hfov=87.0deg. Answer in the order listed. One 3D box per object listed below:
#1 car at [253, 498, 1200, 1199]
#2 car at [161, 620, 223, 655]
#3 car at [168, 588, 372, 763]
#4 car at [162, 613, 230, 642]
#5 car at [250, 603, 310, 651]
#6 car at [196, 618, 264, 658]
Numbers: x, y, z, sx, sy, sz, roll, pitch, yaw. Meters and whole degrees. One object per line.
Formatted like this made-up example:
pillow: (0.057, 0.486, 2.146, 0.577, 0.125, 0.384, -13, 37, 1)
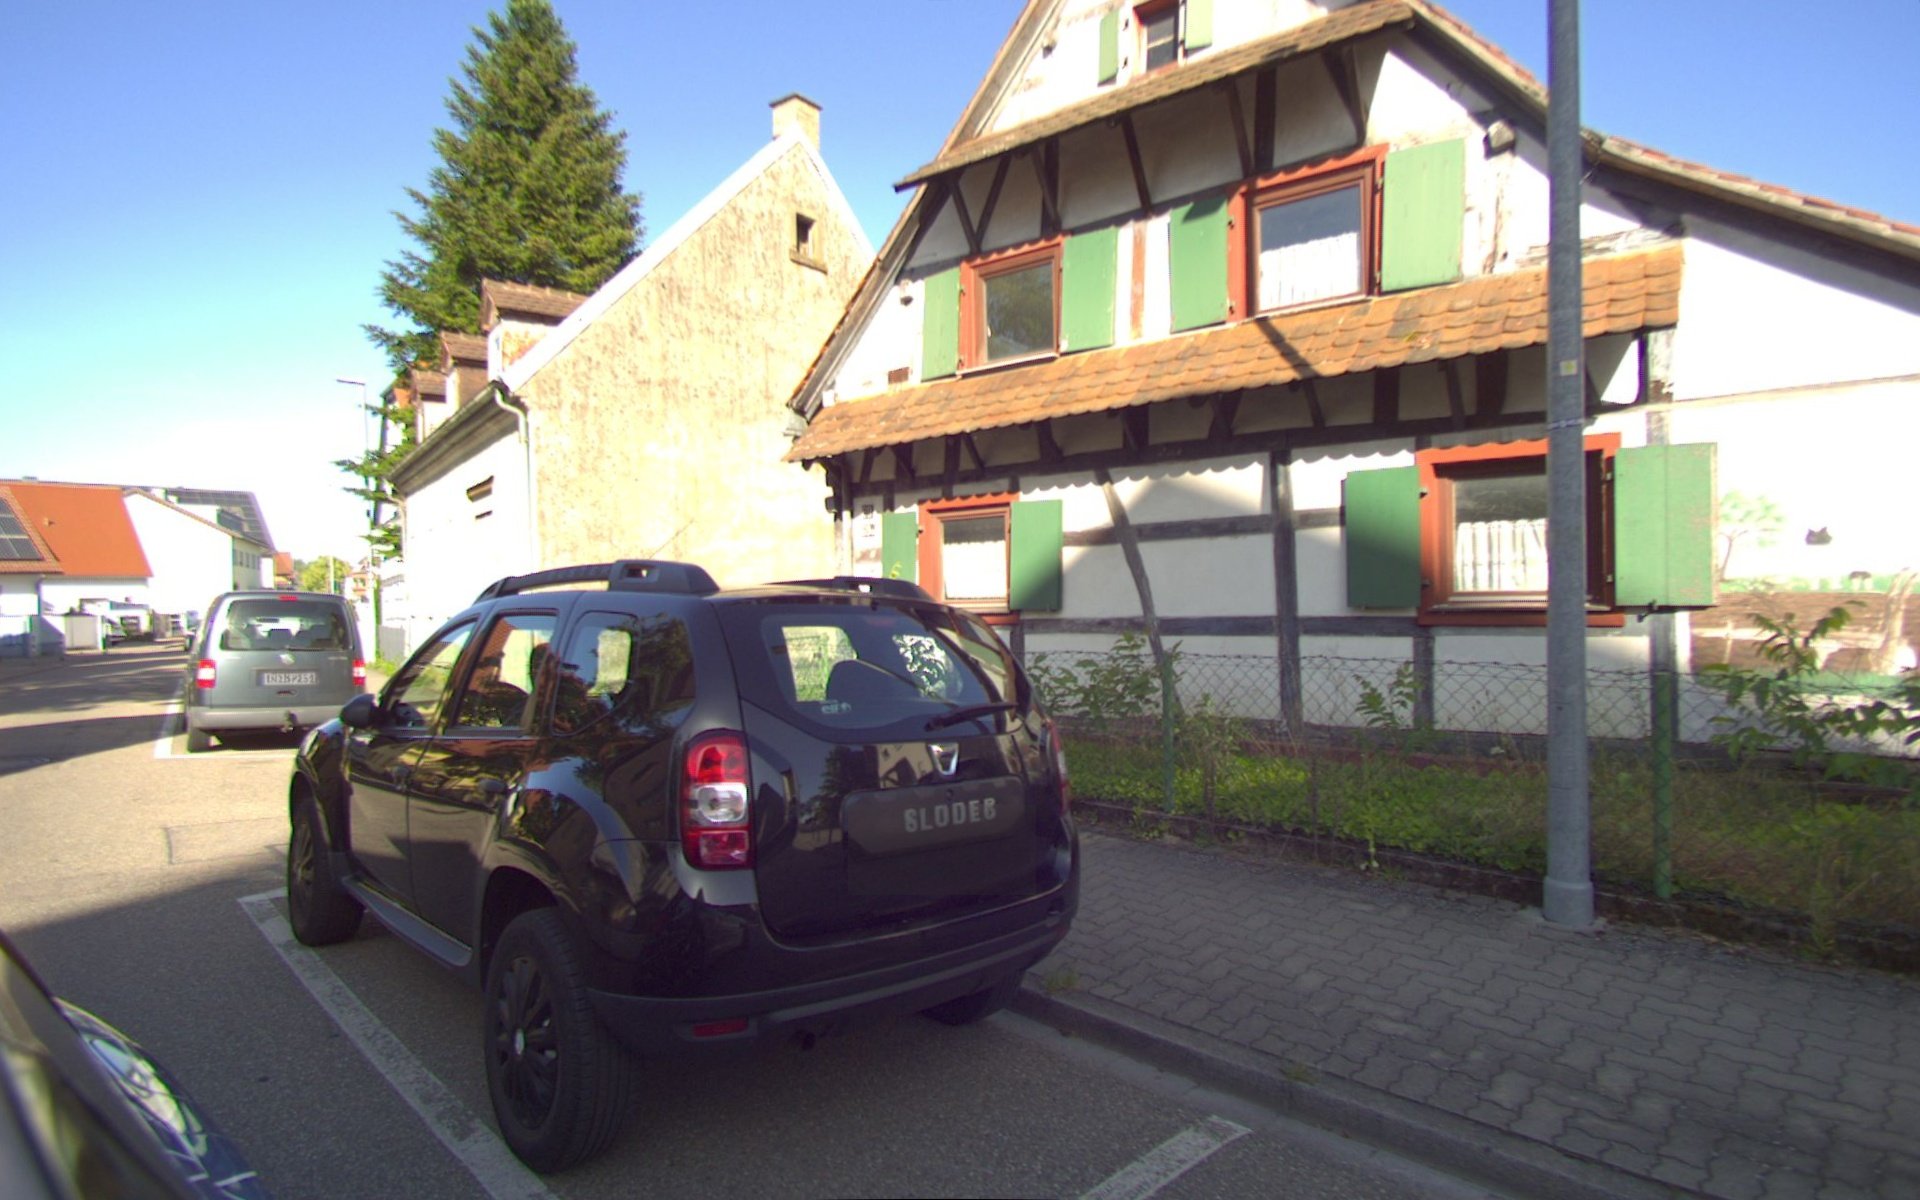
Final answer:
car: (-1.389, 0.643, 4.191, 1.811, 1.683, 4.355, 1, -1, -44)
car: (-39.844, 1.922, 52.599, 1.778, 1.488, 4.358, -5, 3, -28)
car: (-8.817, 0.830, 12.766, 1.809, 1.803, 4.361, 1, -2, -38)
car: (-57.649, 2.064, 76.456, 3.933, 2.029, 1.846, -2, 0, -34)
car: (-34.175, 1.305, 50.990, 2.026, 2.263, 4.875, -1, 0, -28)
car: (-31.793, 1.611, 44.171, 1.862, 1.602, 4.013, -1, 0, -28)
